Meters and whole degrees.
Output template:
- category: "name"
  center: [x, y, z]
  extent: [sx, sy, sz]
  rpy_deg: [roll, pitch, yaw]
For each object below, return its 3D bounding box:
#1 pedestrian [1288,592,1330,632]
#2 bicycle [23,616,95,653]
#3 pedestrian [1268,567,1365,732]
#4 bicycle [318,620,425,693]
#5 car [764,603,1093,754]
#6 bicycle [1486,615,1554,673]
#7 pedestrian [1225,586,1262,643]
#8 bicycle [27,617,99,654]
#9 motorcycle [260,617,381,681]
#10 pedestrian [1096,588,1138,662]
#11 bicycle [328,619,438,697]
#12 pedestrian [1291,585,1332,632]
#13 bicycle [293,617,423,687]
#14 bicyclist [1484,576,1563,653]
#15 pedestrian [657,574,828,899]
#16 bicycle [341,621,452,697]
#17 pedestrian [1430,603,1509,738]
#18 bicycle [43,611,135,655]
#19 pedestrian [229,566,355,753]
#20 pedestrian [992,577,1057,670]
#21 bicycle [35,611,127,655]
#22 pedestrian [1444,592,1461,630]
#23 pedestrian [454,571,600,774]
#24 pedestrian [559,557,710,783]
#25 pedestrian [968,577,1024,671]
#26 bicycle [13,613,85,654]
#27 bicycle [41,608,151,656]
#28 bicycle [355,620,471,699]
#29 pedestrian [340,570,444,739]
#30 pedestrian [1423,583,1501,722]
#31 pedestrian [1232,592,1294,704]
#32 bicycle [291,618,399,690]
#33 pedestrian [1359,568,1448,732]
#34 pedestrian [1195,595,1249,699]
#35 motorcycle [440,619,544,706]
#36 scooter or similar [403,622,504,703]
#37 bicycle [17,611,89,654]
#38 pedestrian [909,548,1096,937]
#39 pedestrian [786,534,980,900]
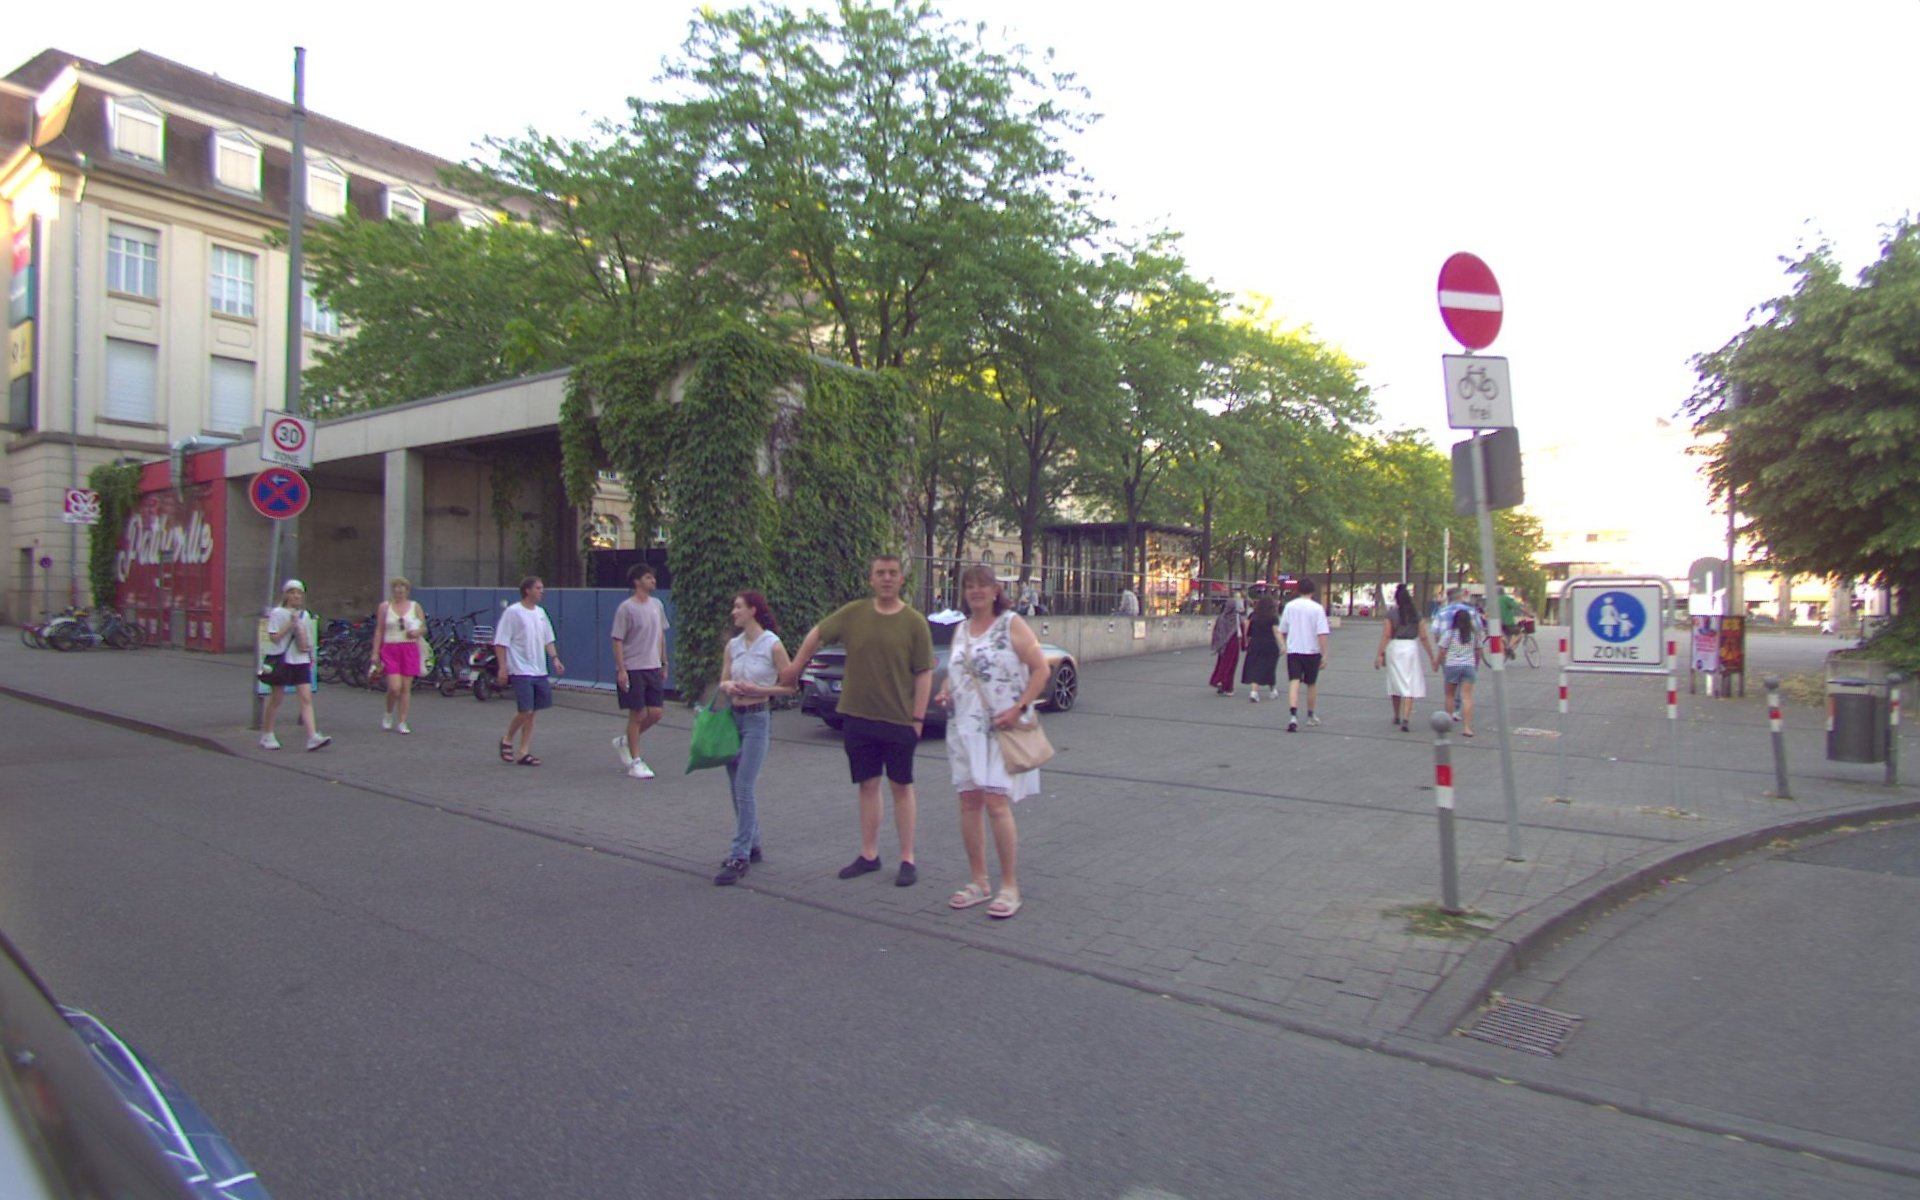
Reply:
- category: "pedestrian"
  center: [12.280, 0.416, 35.565]
  extent: [1.264, 1.390, 0.729]
  rpy_deg: [0, -1, 33]
- category: "bicycle"
  center: [-25.095, 0.947, 28.209]
  extent: [0.311, 0.986, 1.487]
  rpy_deg: [0, 0, 28]
- category: "pedestrian"
  center: [4.211, 0.559, 12.023]
  extent: [0.975, 1.867, 0.886]
  rpy_deg: [0, 0, 13]
- category: "bicycle"
  center: [-9.515, 0.889, 16.406]
  extent: [0.410, 1.096, 1.481]
  rpy_deg: [0, 0, 33]
- category: "car"
  center: [-0.172, 0.796, 12.554]
  extent: [2.098, 1.441, 4.404]
  rpy_deg: [0, 1, 30]
- category: "bicycle"
  center: [11.553, 0.876, 20.841]
  extent: [0.950, 1.110, 2.300]
  rpy_deg: [0, -1, 36]
- category: "pedestrian"
  center: [8.788, 0.433, 31.332]
  extent: [0.919, 1.740, 0.694]
  rpy_deg: [0, 0, 35]
- category: "bicycle"
  center: [-24.834, 0.975, 28.041]
  extent: [0.311, 0.963, 1.487]
  rpy_deg: [0, 0, 28]
- category: "motorcycle"
  center: [-11.582, 0.875, 18.376]
  extent: [1.797, 1.077, 0.535]
  rpy_deg: [-1, 0, -25]
- category: "pedestrian"
  center: [3.776, 0.580, 24.314]
  extent: [0.802, 1.740, 0.616]
  rpy_deg: [0, 0, 35]
- category: "bicycle"
  center: [-9.072, 0.884, 15.954]
  extent: [0.410, 1.120, 1.481]
  rpy_deg: [0, 0, 33]
- category: "pedestrian"
  center: [12.592, 0.304, 36.247]
  extent: [1.264, 1.660, 0.700]
  rpy_deg: [0, -1, 34]
- category: "bicycle"
  center: [-10.383, 0.871, 17.513]
  extent: [0.549, 1.095, 1.849]
  rpy_deg: [0, 1, 38]
- category: "bicyclist"
  center: [11.520, 0.284, 20.696]
  extent: [1.378, 1.521, 0.744]
  rpy_deg: [0, -1, 34]
- category: "pedestrian"
  center: [-1.245, 0.702, 5.706]
  extent: [0.867, 1.681, 0.717]
  rpy_deg: [0, 0, -18]
- category: "bicycle"
  center: [-8.734, 0.893, 15.743]
  extent: [0.441, 1.077, 1.481]
  rpy_deg: [0, 1, 33]
- category: "pedestrian"
  center: [5.855, 0.784, 11.664]
  extent: [0.597, 1.497, 0.715]
  rpy_deg: [0, 0, 7]
- category: "bicycle"
  center: [-22.911, 0.859, 26.656]
  extent: [0.354, 1.091, 1.820]
  rpy_deg: [0, 0, 42]
- category: "pedestrian"
  center: [-6.847, 0.570, 10.380]
  extent: [0.868, 1.807, 0.841]
  rpy_deg: [0, 0, 38]
- category: "pedestrian"
  center: [1.313, 0.468, 20.592]
  extent: [1.120, 1.833, 0.694]
  rpy_deg: [0, 0, 35]
- category: "bicycle"
  center: [-23.315, 0.858, 26.869]
  extent: [0.354, 1.091, 1.820]
  rpy_deg: [0, 1, 42]
- category: "pedestrian"
  center: [25.564, 0.551, 52.532]
  extent: [0.728, 1.963, 0.796]
  rpy_deg: [1, 0, 31]
- category: "pedestrian"
  center: [-4.115, 0.638, 9.640]
  extent: [0.889, 1.807, 0.972]
  rpy_deg: [0, 0, 38]
- category: "pedestrian"
  center: [-2.937, 0.585, 9.153]
  extent: [0.889, 1.898, 0.972]
  rpy_deg: [0, 0, 38]
- category: "pedestrian"
  center: [0.709, 0.453, 19.800]
  extent: [0.796, 1.795, 0.752]
  rpy_deg: [1, 0, 38]
- category: "bicycle"
  center: [-25.671, 0.923, 28.545]
  extent: [0.311, 1.084, 1.487]
  rpy_deg: [0, 0, 28]
- category: "bicycle"
  center: [-22.579, 0.820, 26.487]
  extent: [0.445, 1.164, 2.152]
  rpy_deg: [0, 1, 42]
- category: "bicycle"
  center: [-8.346, 0.881, 15.489]
  extent: [0.546, 1.096, 1.481]
  rpy_deg: [0, 1, 33]
- category: "pedestrian"
  center: [-6.373, 0.578, 11.361]
  extent: [0.736, 1.807, 0.802]
  rpy_deg: [0, 0, 38]
- category: "pedestrian"
  center: [6.499, 0.658, 13.127]
  extent: [0.707, 1.759, 0.686]
  rpy_deg: [0, 0, 7]
- category: "pedestrian"
  center: [4.473, 0.690, 14.925]
  extent: [0.794, 1.594, 0.725]
  rpy_deg: [0, 0, 23]
- category: "bicycle"
  center: [-10.223, 0.876, 16.861]
  extent: [0.436, 1.096, 1.476]
  rpy_deg: [0, 1, 43]
- category: "pedestrian"
  center: [5.325, 0.571, 12.149]
  extent: [0.781, 1.889, 0.704]
  rpy_deg: [0, 0, 44]
- category: "pedestrian"
  center: [4.027, 0.699, 15.549]
  extent: [0.677, 1.554, 0.586]
  rpy_deg: [0, 0, 30]
- category: "motorcycle"
  center: [-6.765, 0.868, 14.731]
  extent: [0.530, 1.135, 1.826]
  rpy_deg: [0, 0, 5]
- category: "scooter or similar"
  center: [-7.511, 0.892, 15.063]
  extent: [0.407, 1.096, 1.488]
  rpy_deg: [0, 0, 18]
- category: "bicycle"
  center: [-25.385, 0.892, 28.353]
  extent: [0.311, 1.149, 1.487]
  rpy_deg: [0, 0, 28]
- category: "pedestrian"
  center: [0.236, 0.664, 5.126]
  extent: [0.872, 1.816, 0.713]
  rpy_deg: [0, 0, 7]
- category: "pedestrian"
  center: [-0.432, 0.602, 5.760]
  extent: [0.850, 1.891, 0.706]
  rpy_deg: [0, 0, 34]
